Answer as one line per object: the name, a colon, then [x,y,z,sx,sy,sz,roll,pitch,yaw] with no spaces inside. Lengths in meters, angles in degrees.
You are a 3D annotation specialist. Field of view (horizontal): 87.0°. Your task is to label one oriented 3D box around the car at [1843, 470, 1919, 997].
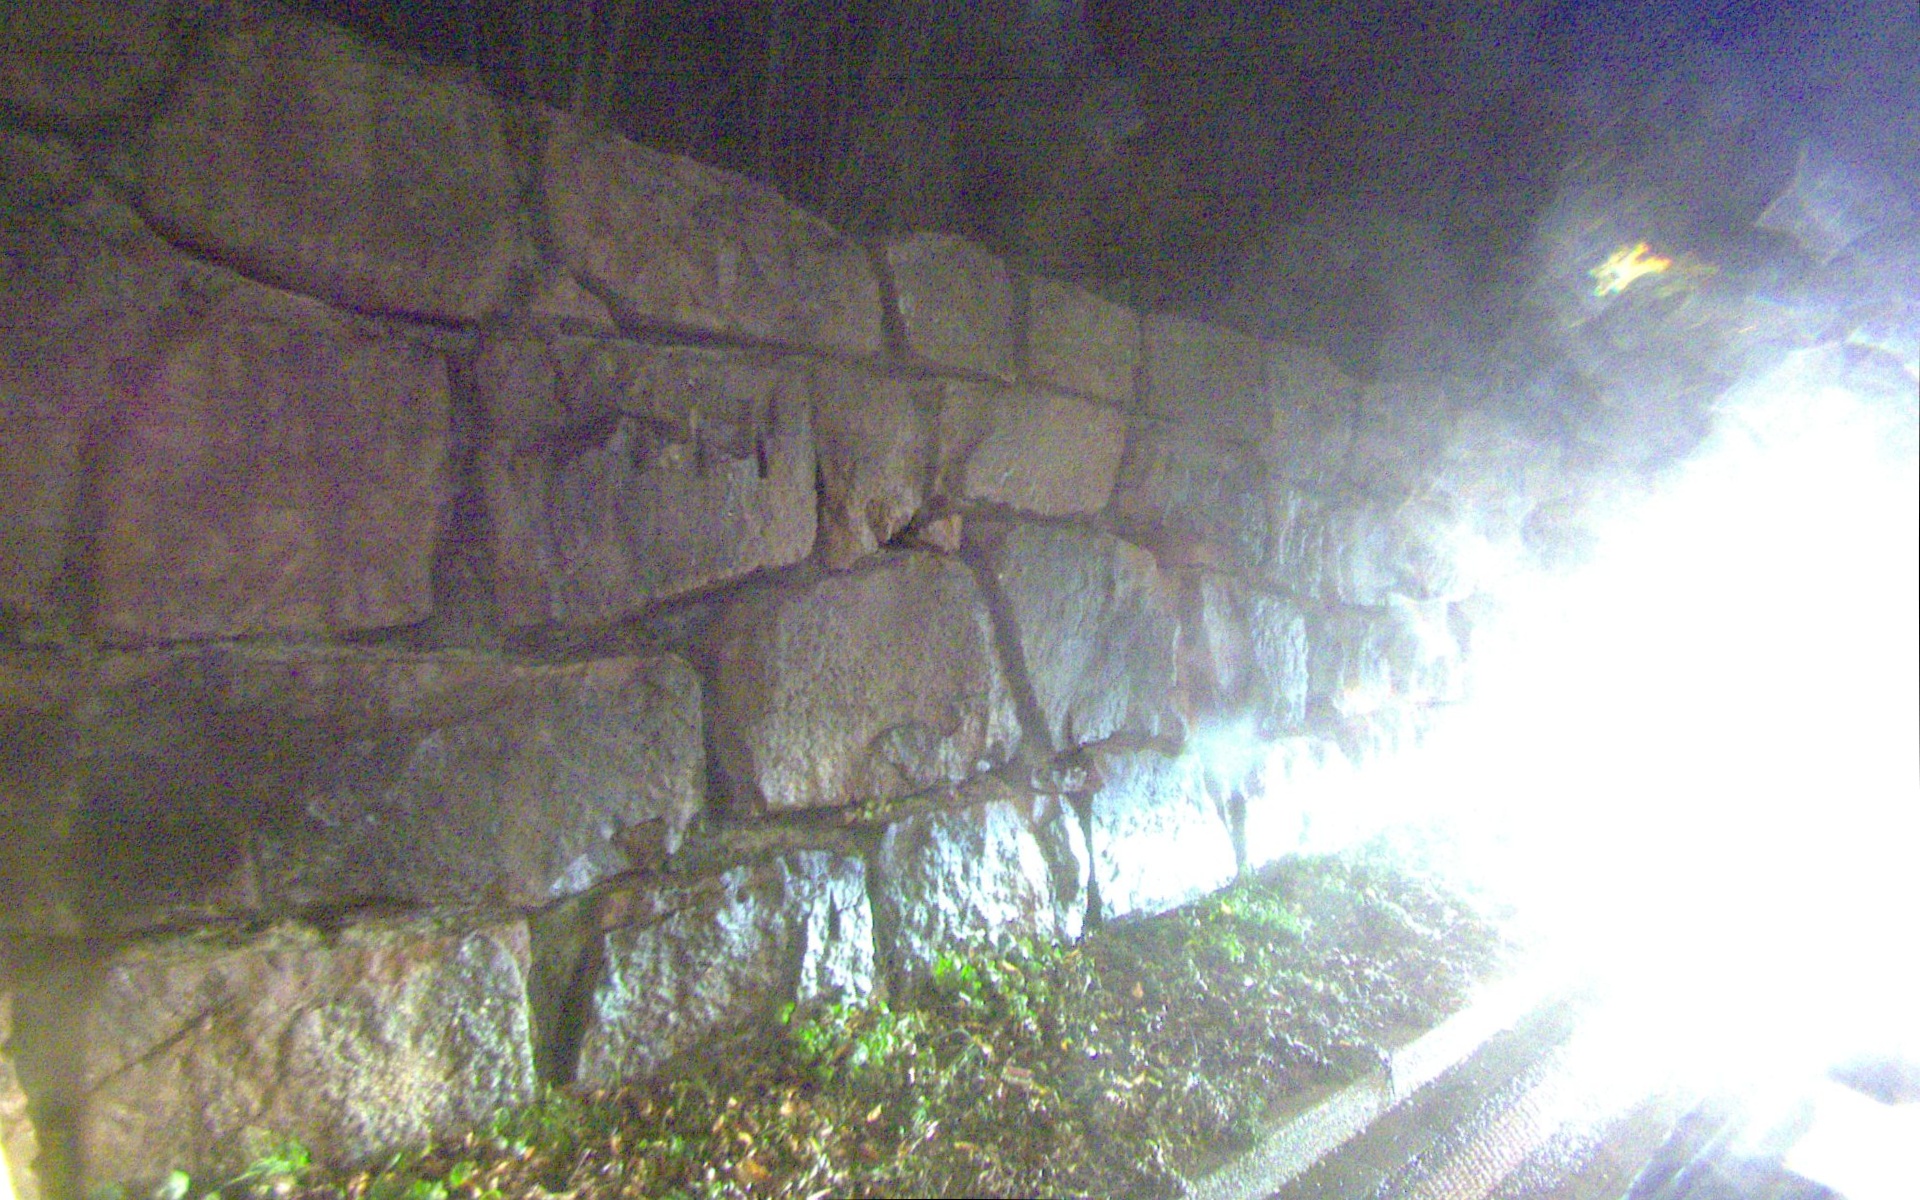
car: [5.458,0.477,4.263,4.128,1.858,1.877,0,1,-38]
